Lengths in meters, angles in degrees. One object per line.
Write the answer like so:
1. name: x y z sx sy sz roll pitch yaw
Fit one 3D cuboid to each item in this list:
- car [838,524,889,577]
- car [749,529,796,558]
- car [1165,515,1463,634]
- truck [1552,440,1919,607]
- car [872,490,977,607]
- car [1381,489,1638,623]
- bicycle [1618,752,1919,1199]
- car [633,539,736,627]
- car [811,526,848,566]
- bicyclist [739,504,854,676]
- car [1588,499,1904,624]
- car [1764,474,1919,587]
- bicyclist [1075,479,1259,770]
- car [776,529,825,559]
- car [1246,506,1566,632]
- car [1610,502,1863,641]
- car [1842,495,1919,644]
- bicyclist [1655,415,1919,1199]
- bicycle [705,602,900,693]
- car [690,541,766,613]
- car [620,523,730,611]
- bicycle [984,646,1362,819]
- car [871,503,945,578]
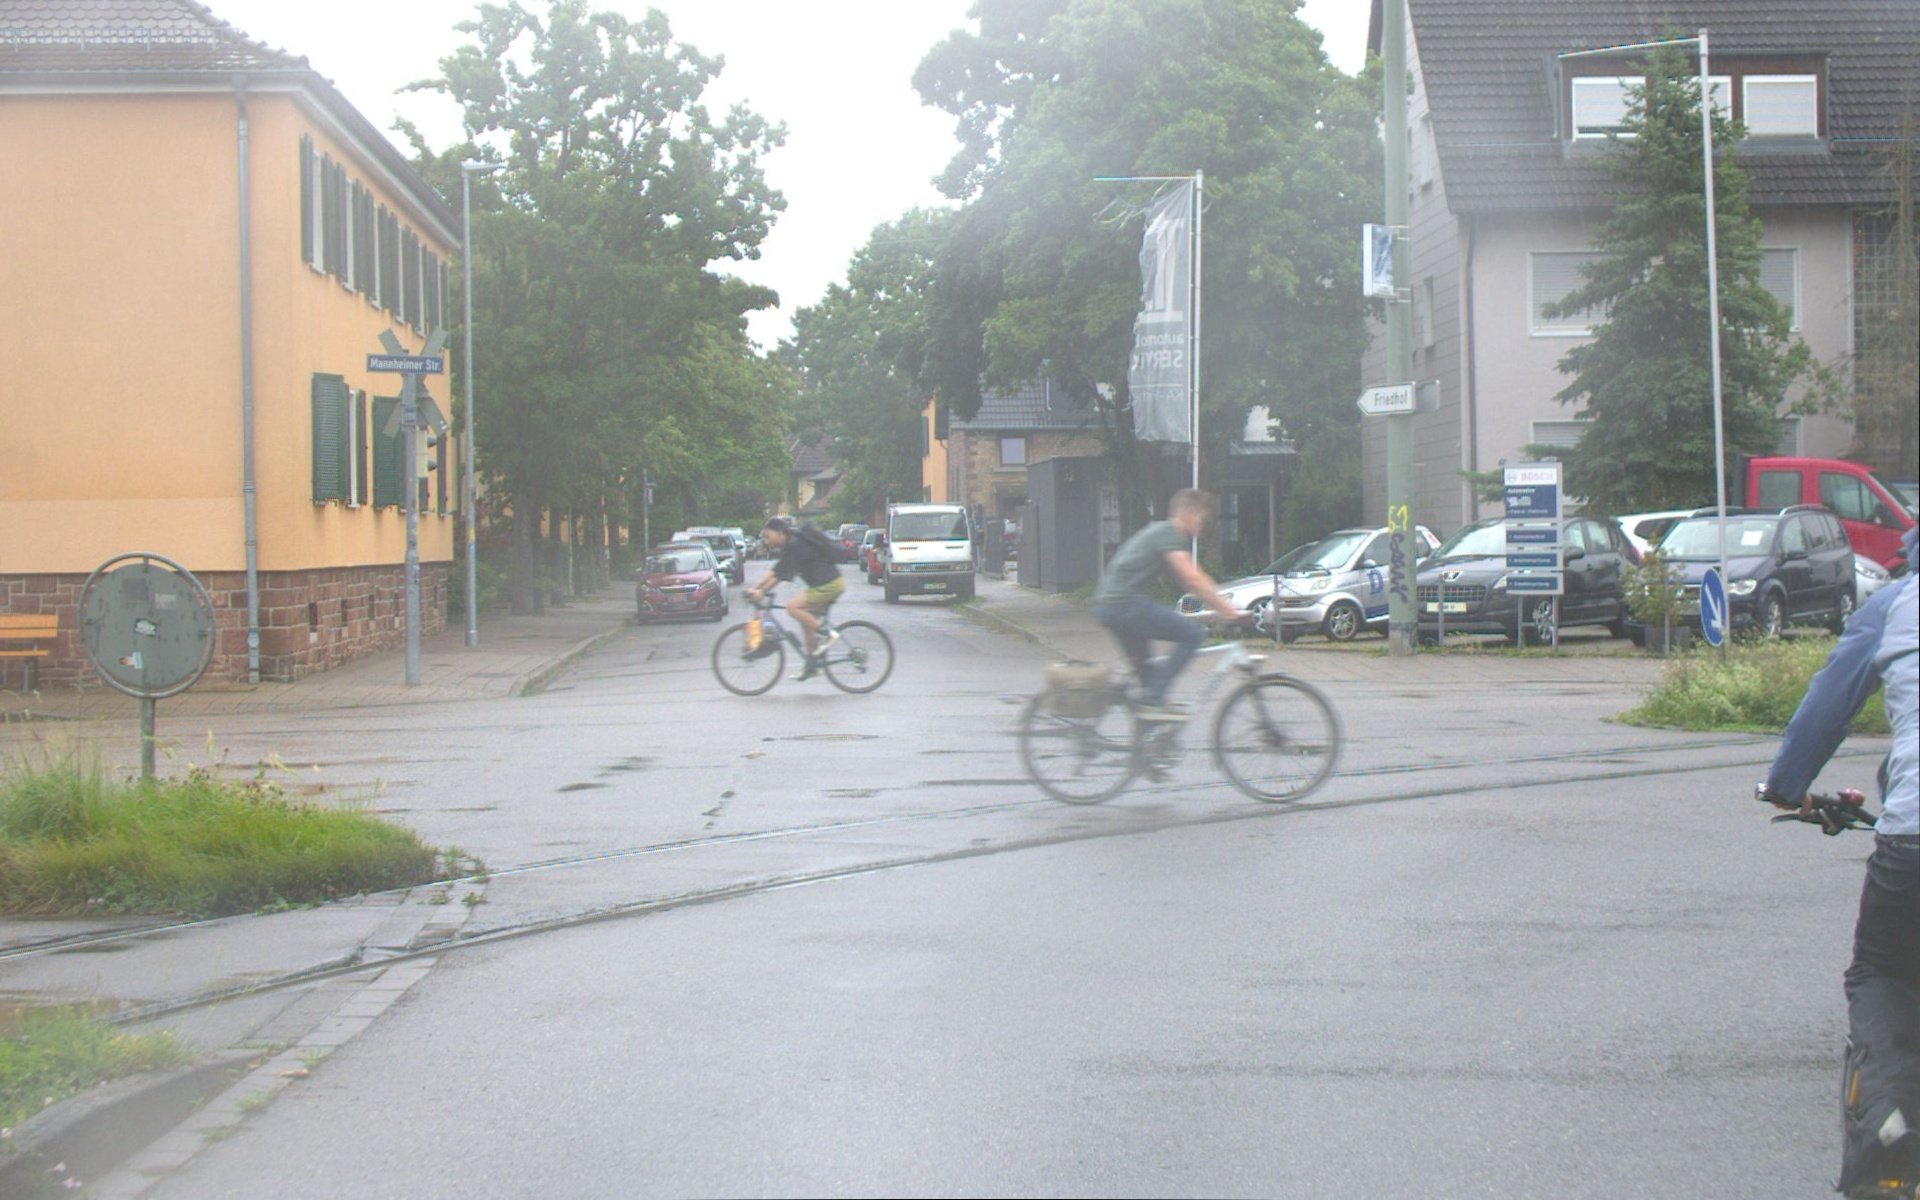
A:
1. car: -3.793 -1.933 134.173 1.828 2.007 4.001 1 1 -3
2. car: -11.155 -3.374 204.715 1.828 1.691 4.033 1 1 -17
3. car: 5.121 -0.383 49.823 3.858 1.573 1.808 -2 1 -20
4. truck: 11.791 -1.087 49.720 6.088 2.264 1.998 -1 0 19
5. car: -0.844 -1.190 78.742 2.153 2.564 4.134 1 1 -3
6. car: 6.935 -0.574 43.100 1.805 1.573 3.865 -1 1 32
7. bicycle: 1.806 0.891 6.521 0.752 1.069 1.927 -2 1 1
8. car: -5.692 -0.363 71.366 1.993 1.744 4.001 -1 1 -3
9. car: -6.867 -2.851 181.039 1.828 2.007 4.001 1 1 -3
10. bicyclist: -1.558 -0.100 32.824 1.039 1.592 0.950 -2 1 -2
11. car: 10.708 -0.505 46.787 3.969 1.592 1.998 -1 0 19
12. car: 14.821 -1.075 52.883 4.432 1.682 2.000 -1 0 2
13. bicyclist: 1.124 0.131 18.798 0.911 1.553 0.834 0 0 -3
14. car: -9.278 -3.236 199.302 1.828 1.691 4.033 1 1 -17
15. car: 6.028 -0.429 46.485 3.858 1.573 1.808 -2 1 -20
16. car: 9.470 -0.365 41.756 1.805 1.573 3.865 -1 1 32
17. car: 12.191 -0.399 41.212 1.997 1.711 3.993 -1 1 32
18. bicyclist: 1.789 0.404 6.494 0.751 1.480 0.846 -2 1 1
19. bicycle: -1.504 0.447 32.838 1.813 0.784 0.942 -2 1 -2
20. car: -6.735 -0.700 100.297 1.993 2.007 4.000 1 1 -1
21. car: -5.483 -0.637 66.524 1.993 1.612 4.001 -1 1 -3
22. bicycle: 1.145 0.713 18.798 1.979 0.909 0.824 0 0 -3
23. car: -1.462 -1.680 96.616 1.993 2.007 4.000 1 1 -1
